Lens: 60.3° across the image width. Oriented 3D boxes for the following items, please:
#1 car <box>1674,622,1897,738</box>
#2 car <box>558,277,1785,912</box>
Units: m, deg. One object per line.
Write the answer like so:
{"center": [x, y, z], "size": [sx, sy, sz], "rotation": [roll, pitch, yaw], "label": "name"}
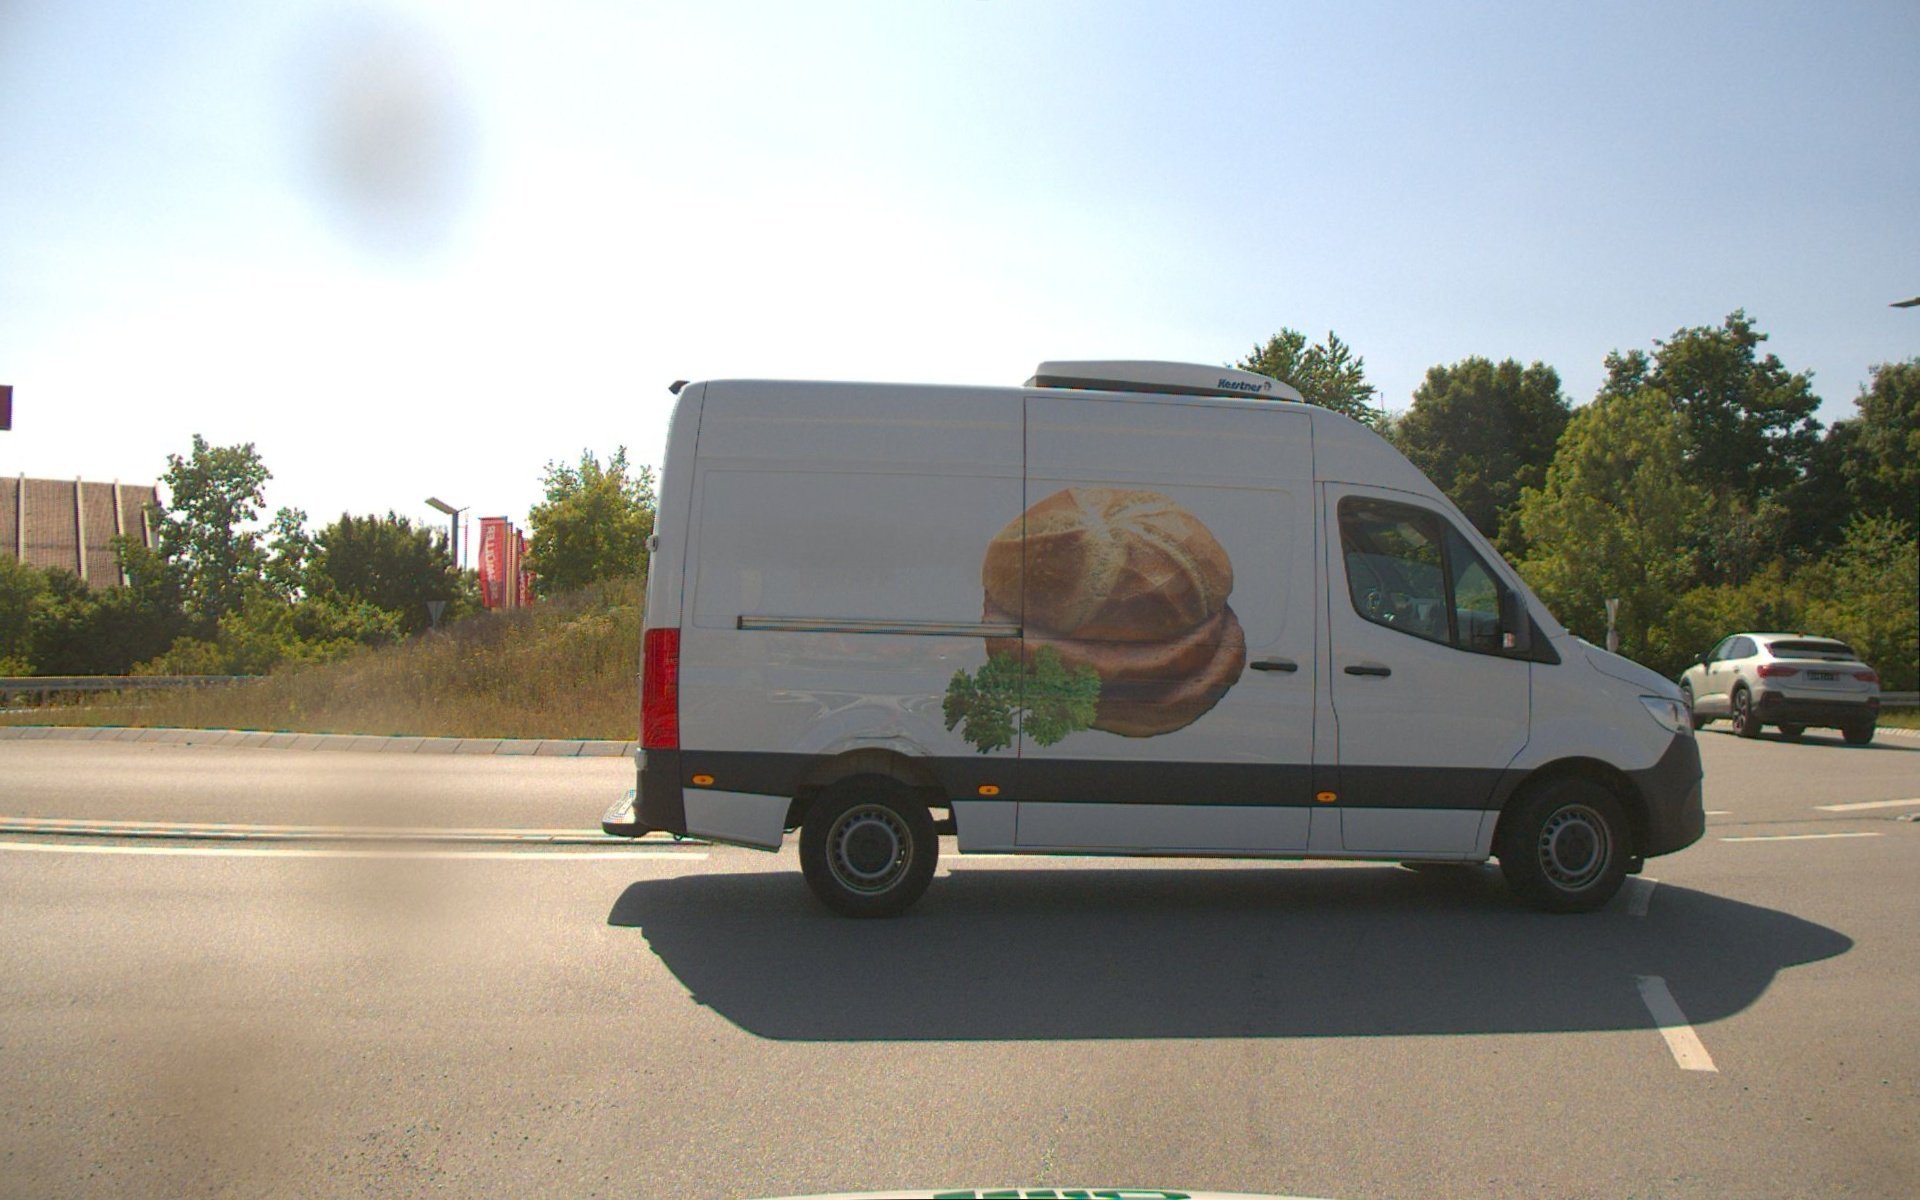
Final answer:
{"center": [12.564, 1.154, 25.477], "size": [1.802, 1.624, 4.328], "rotation": [0, -1, 8], "label": "car"}
{"center": [1.052, 0.023, 9.043], "size": [5.999, 2.972, 2.082], "rotation": [1, -1, -5], "label": "car"}
